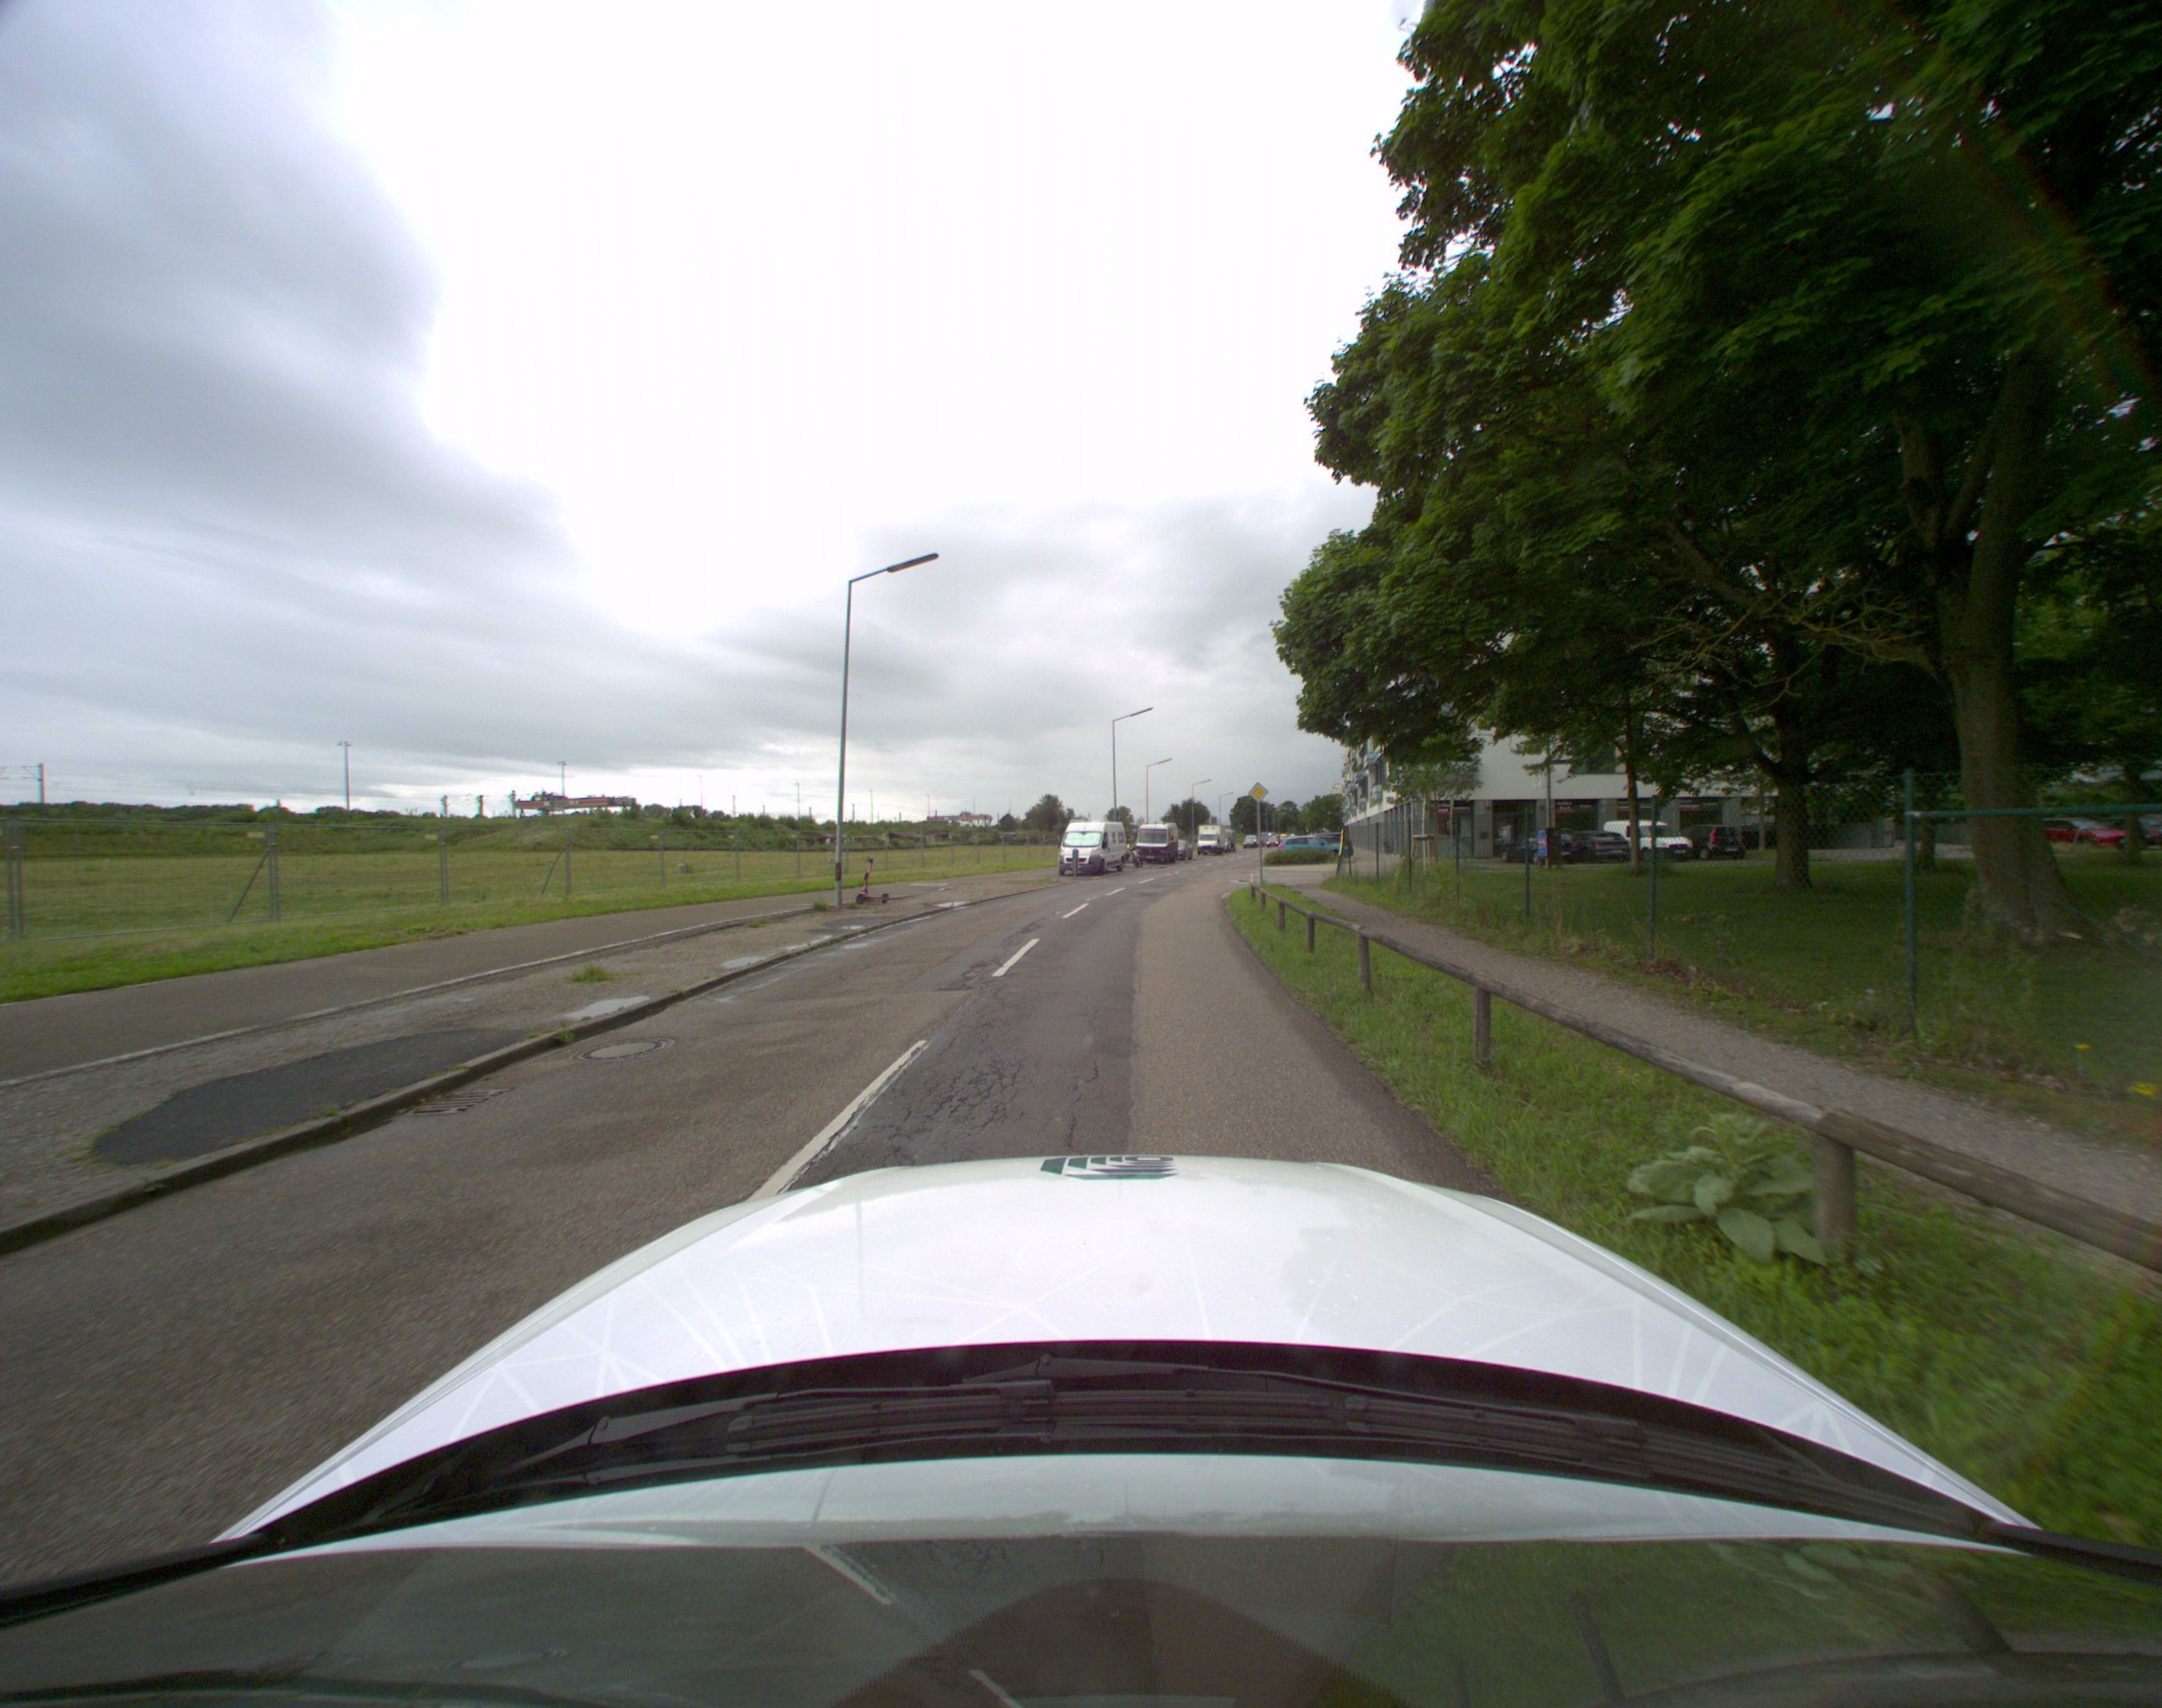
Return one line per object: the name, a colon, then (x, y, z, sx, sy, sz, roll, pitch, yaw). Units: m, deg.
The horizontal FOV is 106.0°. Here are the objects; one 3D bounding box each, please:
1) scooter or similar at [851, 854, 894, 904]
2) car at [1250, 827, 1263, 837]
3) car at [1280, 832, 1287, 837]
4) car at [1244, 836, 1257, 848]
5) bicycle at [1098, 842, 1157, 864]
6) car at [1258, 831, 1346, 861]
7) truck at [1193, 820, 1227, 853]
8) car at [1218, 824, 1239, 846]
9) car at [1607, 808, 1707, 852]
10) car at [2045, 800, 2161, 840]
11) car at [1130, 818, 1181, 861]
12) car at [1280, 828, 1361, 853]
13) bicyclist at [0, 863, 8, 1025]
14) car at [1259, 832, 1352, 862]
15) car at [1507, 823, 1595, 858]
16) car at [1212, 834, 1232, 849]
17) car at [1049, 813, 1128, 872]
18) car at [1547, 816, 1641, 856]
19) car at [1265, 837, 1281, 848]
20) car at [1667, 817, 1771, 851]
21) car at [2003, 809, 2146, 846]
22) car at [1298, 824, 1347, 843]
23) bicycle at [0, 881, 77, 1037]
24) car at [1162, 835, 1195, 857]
scooter or similar: (-5.416, 0.627, 21.267, 0.606, 1.182, 1.703, 1, 1, 2)
car: (28.404, -3.554, 131.654, 1.741, 1.525, 4.019, -1, 2, 17)
car: (60.564, -5.823, 243.473, 1.741, 1.525, 4.019, -1, 2, 17)
car: (25.952, -1.865, 124.680, 1.636, 1.662, 3.593, 0, 2, 18)
bicycle: (2.659, -0.064, 46.497, 3.097, 1.199, 1.370, 0, 2, 15)
car: (12.802, -0.461, 47.290, 4.824, 1.662, 1.850, 0, 2, 15)
truck: (12.991, -1.798, 81.435, 2.443, 3.060, 8.197, -1, 2, 16)
car: (17.800, -2.323, 98.249, 1.989, 2.574, 4.807, -1, 2, 16)
car: (25.833, -1.080, 36.708, 1.790, 1.830, 4.002, -1, 1, 2)
car: (48.405, -1.564, 38.047, 1.868, 1.749, 4.187, -1, 1, 2)
car: (5.101, -1.054, 54.830, 2.283, 2.734, 6.119, 0, 2, 16)
car: (15.250, -0.852, 51.995, 4.824, 1.500, 1.850, 0, 2, 15)
bicyclist: (-8.983, 0.470, 5.797, 0.824, 1.821, 1.331, -1, 2, 1)
car: (12.358, -0.390, 44.851, 4.824, 1.616, 1.850, 0, 2, 15)
car: (20.967, -0.623, 36.491, 1.817, 1.430, 3.773, -1, 1, 1)
car: (15.776, -1.383, 90.937, 1.742, 1.525, 4.018, -1, 2, 16)
car: (0.510, -0.612, 38.836, 2.272, 2.555, 6.436, -1, 2, 14)
car: (23.222, -0.821, 37.020, 1.847, 1.699, 3.957, -1, 1, 1)
car: (30.316, -1.781, 128.477, 2.026, 1.662, 4.127, 0, 2, 18)
car: (28.857, -0.892, 37.003, 1.817, 1.430, 3.773, -1, 1, 1)
car: (45.497, -1.215, 37.436, 1.741, 1.573, 4.000, -1, 2, 0)
car: (22.645, -1.938, 76.445, 4.295, 1.719, 2.008, -1, 2, 14)
bicycle: (-8.992, 0.884, 5.636, 0.816, 1.203, 2.558, -1, 2, 1)
car: (7.421, -0.638, 61.758, 1.765, 1.504, 4.019, -1, 2, 17)
